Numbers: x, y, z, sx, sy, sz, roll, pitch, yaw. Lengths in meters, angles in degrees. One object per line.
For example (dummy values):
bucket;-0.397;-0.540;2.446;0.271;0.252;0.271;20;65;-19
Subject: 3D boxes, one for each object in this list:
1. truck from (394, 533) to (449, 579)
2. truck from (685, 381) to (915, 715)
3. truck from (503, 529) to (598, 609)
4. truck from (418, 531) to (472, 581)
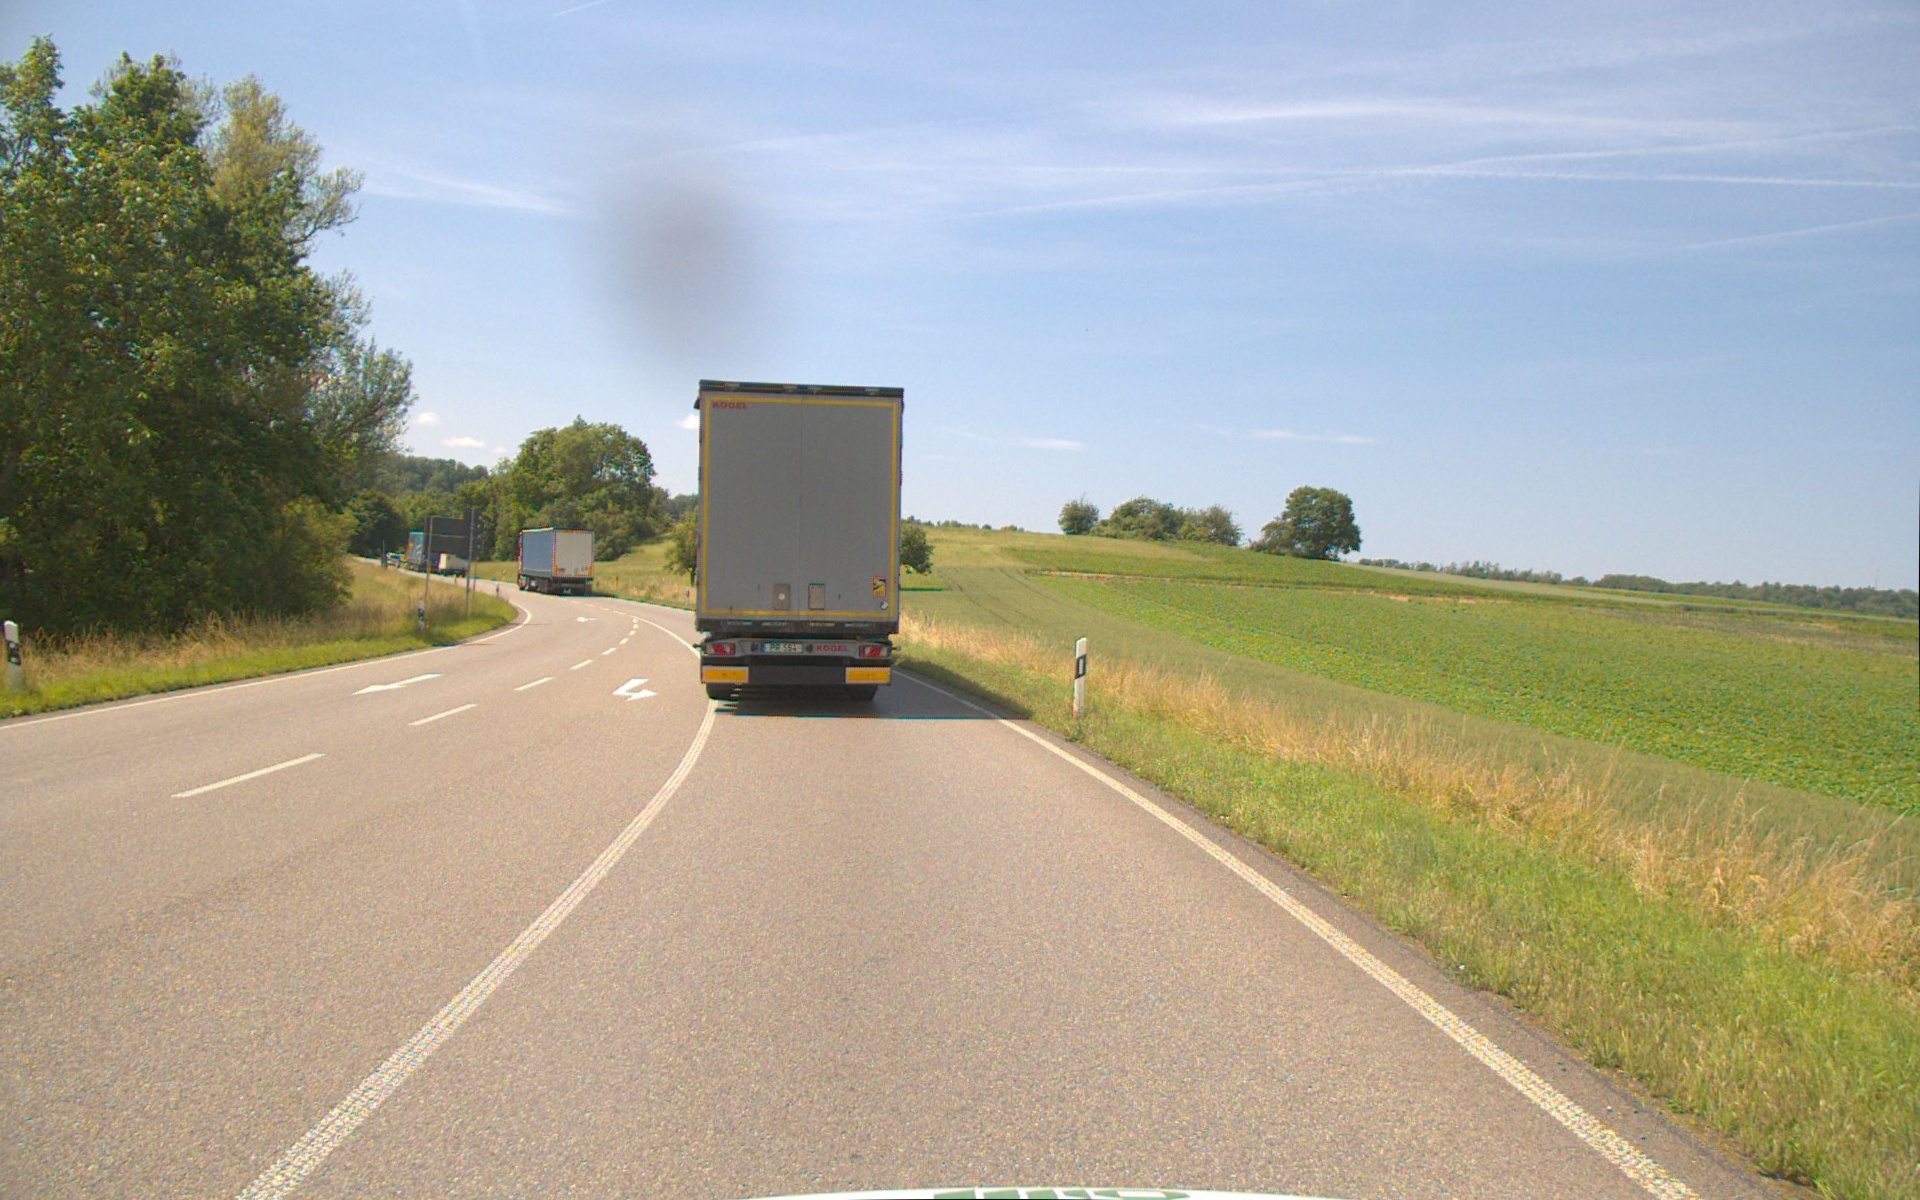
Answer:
truck;-57.864;-4.637;177.554;3.487;4.314;13.291;4;-2;-26
truck;-2.540;-0.664;24.833;2.755;4.015;9.575;0;1;-7
truck;-26.845;-2.078;107.625;2.923;4.664;16.191;3;0;-24
truck;-50.682;-4.226;162.603;3.588;4.201;13.003;4;-2;-23
